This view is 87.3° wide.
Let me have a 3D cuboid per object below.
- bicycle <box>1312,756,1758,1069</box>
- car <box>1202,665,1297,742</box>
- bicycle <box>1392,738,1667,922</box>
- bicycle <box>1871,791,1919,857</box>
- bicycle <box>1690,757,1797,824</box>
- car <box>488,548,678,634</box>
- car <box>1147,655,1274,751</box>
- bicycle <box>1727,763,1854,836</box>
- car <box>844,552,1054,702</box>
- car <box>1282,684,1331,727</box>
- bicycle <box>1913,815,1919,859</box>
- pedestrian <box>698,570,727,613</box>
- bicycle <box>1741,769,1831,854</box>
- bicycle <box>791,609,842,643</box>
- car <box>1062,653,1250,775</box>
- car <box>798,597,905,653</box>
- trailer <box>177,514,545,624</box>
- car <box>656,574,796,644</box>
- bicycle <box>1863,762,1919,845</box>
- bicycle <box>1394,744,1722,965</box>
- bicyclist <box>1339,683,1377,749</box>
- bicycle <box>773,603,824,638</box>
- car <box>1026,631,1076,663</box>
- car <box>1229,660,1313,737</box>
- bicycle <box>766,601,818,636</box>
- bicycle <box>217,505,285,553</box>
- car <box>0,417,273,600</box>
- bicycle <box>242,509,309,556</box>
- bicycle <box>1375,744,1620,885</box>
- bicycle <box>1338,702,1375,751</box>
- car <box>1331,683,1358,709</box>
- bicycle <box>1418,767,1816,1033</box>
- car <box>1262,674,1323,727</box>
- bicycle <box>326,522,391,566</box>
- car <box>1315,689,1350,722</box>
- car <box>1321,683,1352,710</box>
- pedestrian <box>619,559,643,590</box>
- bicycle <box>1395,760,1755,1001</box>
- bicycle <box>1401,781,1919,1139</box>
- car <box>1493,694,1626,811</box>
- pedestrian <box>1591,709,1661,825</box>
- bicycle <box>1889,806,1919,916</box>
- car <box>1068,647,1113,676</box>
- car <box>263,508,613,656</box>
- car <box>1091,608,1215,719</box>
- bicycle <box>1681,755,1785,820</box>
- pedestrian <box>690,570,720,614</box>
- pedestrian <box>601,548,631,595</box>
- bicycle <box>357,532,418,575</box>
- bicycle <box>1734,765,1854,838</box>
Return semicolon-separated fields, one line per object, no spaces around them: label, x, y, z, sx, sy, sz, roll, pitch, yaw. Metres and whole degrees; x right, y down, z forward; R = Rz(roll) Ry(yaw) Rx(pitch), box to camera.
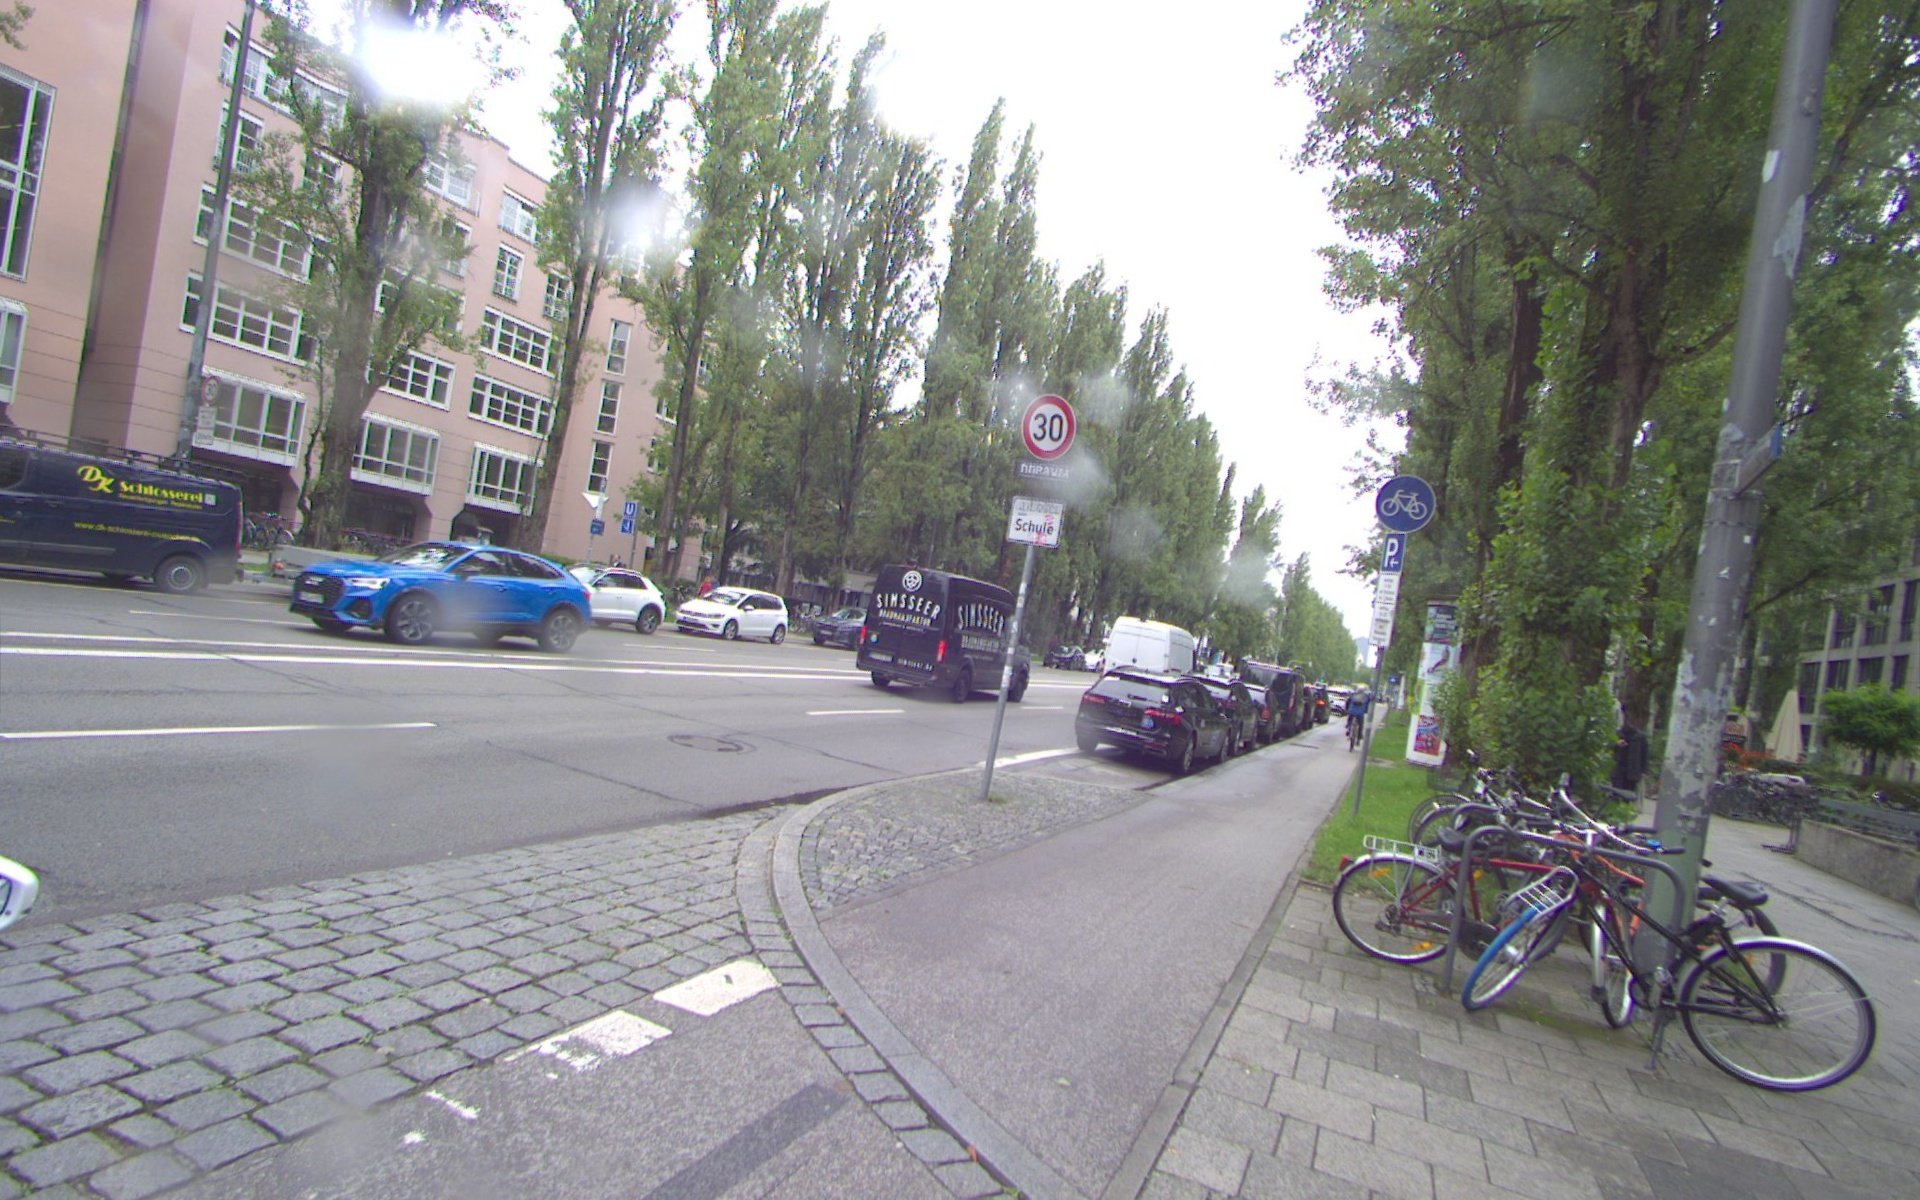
bicycle;2.937;1.565;5.339;1.843;1.063;0.476;10;0;25
car;7.783;2.733;26.772;1.717;1.544;4.236;11;-1;23
bicycle;4.636;1.840;8.307;1.802;1.050;0.513;8;-1;29
bicycle;20.243;4.791;21.135;0.576;1.173;1.871;9;-1;10
bicycle;19.134;4.632;24.622;1.836;1.174;0.587;10;1;26
car;-9.212;-0.164;24.963;1.774;1.560;4.233;8;-1;26
car;5.419;2.177;21.419;1.717;1.544;3.909;11;-1;25
bicycle;18.826;4.507;22.859;1.996;1.173;0.588;9;0;26
car;-0.003;0.739;22.199;2.045;2.585;5.934;10;-1;23
car;16.086;4.861;46.630;1.716;1.609;3.953;11;-1;22
bicycle;16.034;3.701;15.976;0.577;1.173;1.870;9;-1;24
pedestrian;-10.822;-0.367;43.970;0.696;1.733;0.732;9;0;25
bicycle;14.448;3.661;17.646;0.577;1.173;1.985;9;-1;24
bicycle;-6.175;1.102;43.258;1.953;1.137;0.676;9;0;25
car;3.400;1.877;16.723;1.725;1.443;4.447;11;-1;27
car;-4.051;1.008;38.255;1.964;1.559;4.325;9;-1;25
trailer;-11.663;-0.507;20.286;2.361;1.213;6.039;9;-1;25
car;-7.082;0.323;30.915;1.963;1.559;4.327;9;-1;21
bicycle;15.424;3.306;16.245;0.577;1.173;1.870;9;-1;24
bicycle;4.298;1.803;7.399;1.896;1.118;0.513;8;0;23
bicyclist;10.609;3.076;26.798;0.711;1.639;0.756;7;0;25
bicycle;-6.791;0.863;42.253;1.953;1.137;0.676;9;0;25
car;5.467;2.821;60.067;1.913;1.598;3.611;9;0;19
car;10.004;3.118;32.085;1.882;1.946;5.043;11;-1;22
bicycle;-6.962;0.763;41.727;1.953;1.137;0.676;9;0;25
bicycle;-21.457;-2.147;30.427;1.953;1.137;0.676;9;0;25
car;-13.862;-1.476;15.054;1.987;2.222;5.498;9;-1;24
bicycle;-21.162;-2.075;31.104;1.953;1.137;0.676;9;0;25
bicycle;4.771;1.877;9.026;1.802;0.827;0.471;8;-1;29
bicycle;10.532;3.349;26.699;0.706;1.160;1.901;6;-4;25
car;31.315;7.801;81.865;1.716;1.807;3.953;11;-1;22
bicycle;3.838;1.726;6.057;1.843;1.063;0.476;8;-1;25
car;12.445;3.742;37.544;1.716;1.544;3.953;11;-1;22
bicycle;-19.920;-1.858;33.330;2.069;1.137;0.676;9;0;25
car;23.462;6.597;63.239;1.716;1.661;3.953;11;-1;22
car;26.492;6.786;70.718;1.716;1.563;3.953;11;-1;22
pedestrian;-19.894;-1.561;60.835;0.802;1.681;0.897;9;0;25
bicycle;3.907;1.755;6.561;1.843;1.063;0.476;8;-1;25
bicycle;3.132;1.570;4.645;1.841;1.063;0.476;9;0;18
car;13.568;3.340;23.071;1.782;1.919;5.199;9;0;25
pedestrian;11.618;2.895;17.575;0.688;1.862;0.706;9;0;26
bicycle;11.035;2.979;10.839;0.577;1.173;1.871;9;-1;15
car;8.747;4.122;67.147;1.735;1.598;3.971;9;0;24
car;-7.691;-0.158;15.374;1.838;1.597;4.423;7;-2;24
car;5.967;1.961;30.351;2.009;2.682;6.042;11;0;24
bicycle;19.373;4.691;25.257;1.836;1.173;0.588;9;0;26
pedestrian;-10.741;-0.329;42.418;0.696;1.733;0.732;9;0;25
pedestrian;-13.001;-1.071;38.002;0.551;1.623;0.655;9;0;44
bicycle;-19.544;-1.581;34.330;1.953;1.137;0.676;9;0;25
bicycle;18.481;4.457;22.339;1.836;1.173;0.588;9;0;26
